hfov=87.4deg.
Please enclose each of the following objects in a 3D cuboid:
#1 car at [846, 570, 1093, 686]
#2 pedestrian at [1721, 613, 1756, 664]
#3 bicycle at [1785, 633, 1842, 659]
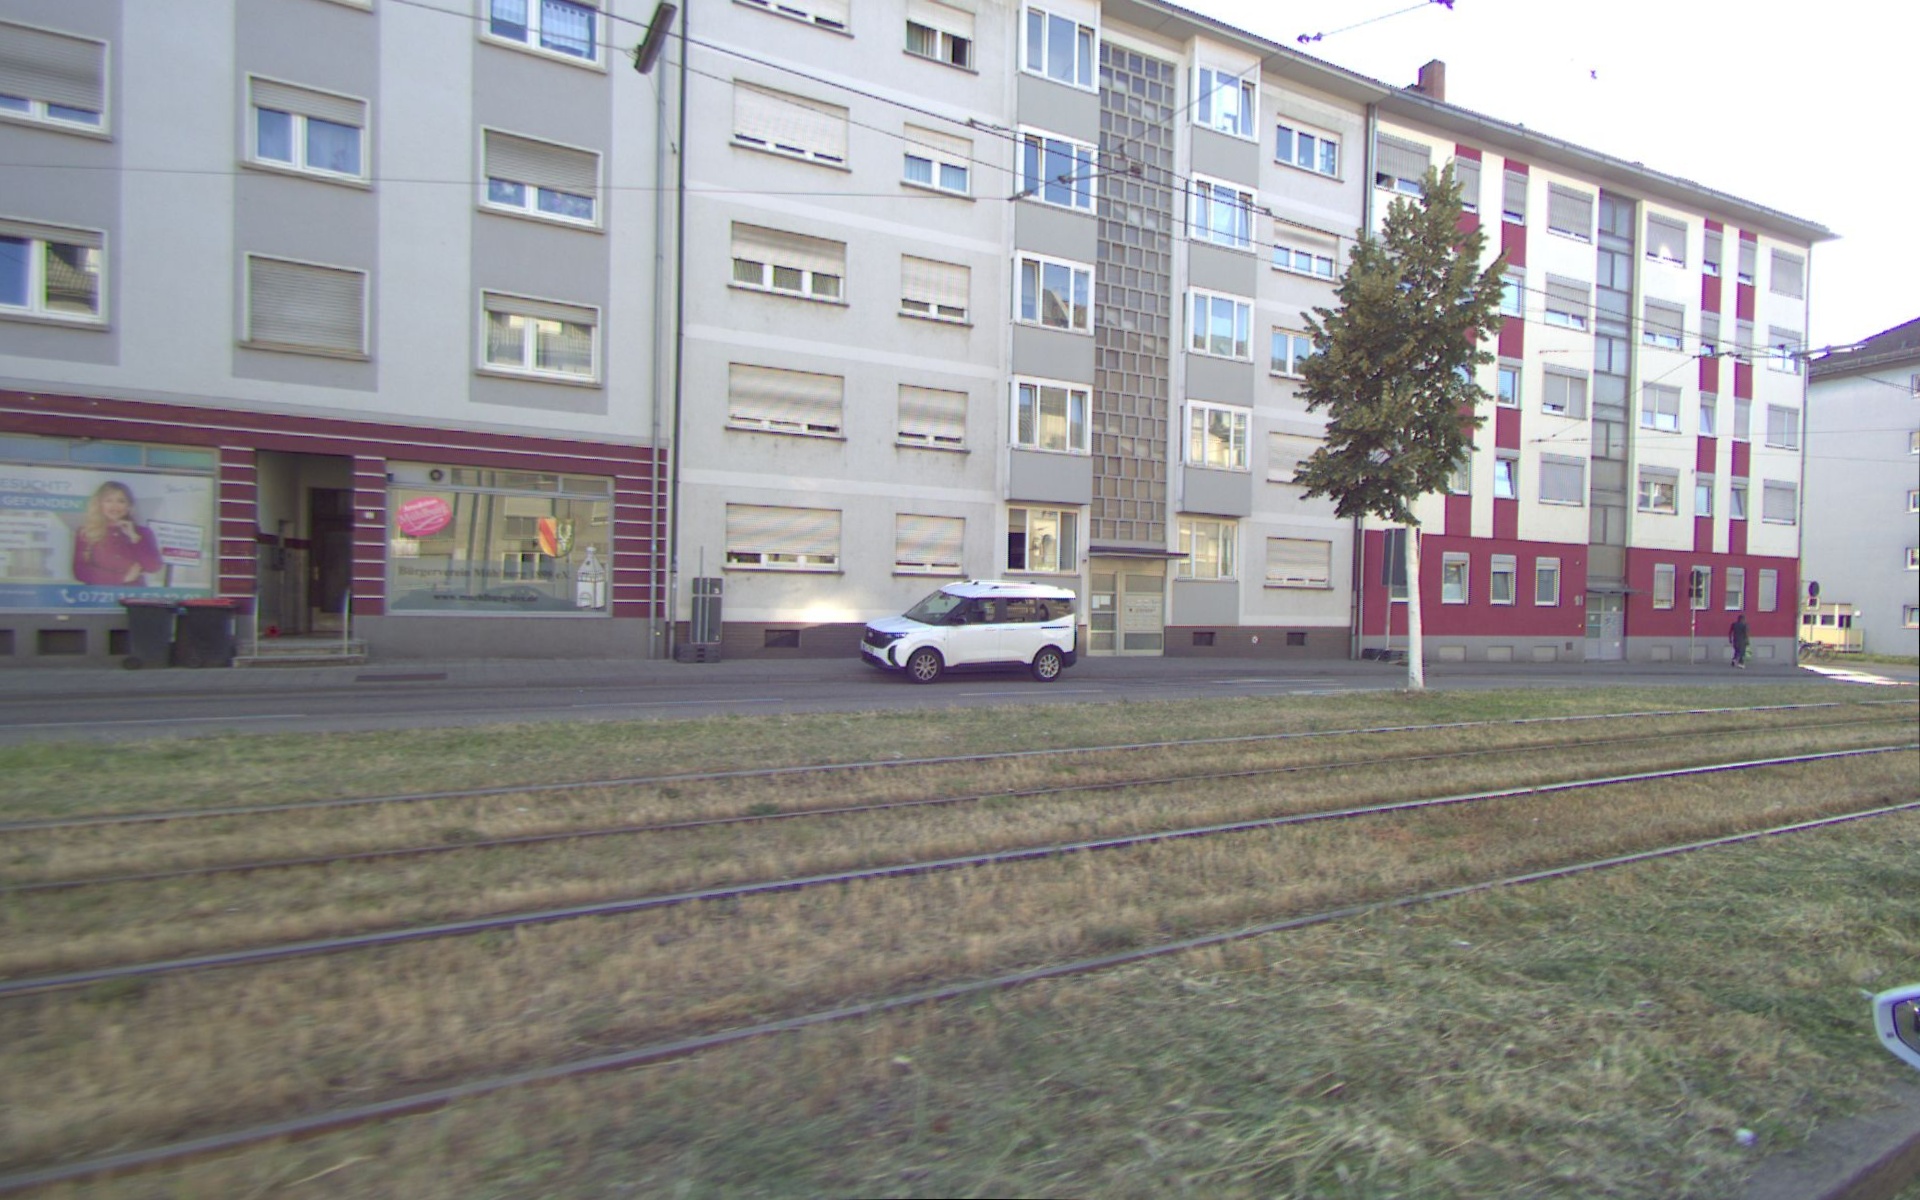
[{"bbox_3d":[0.191,0.528,19.646,4.366,1.854,1.859,2,8,-28],"label":"car"},{"bbox_3d":[27.033,1.331,34.883,0.781,1.712,0.611,1,2,-25],"label":"pedestrian"},{"bbox_3d":[40.484,2.192,47.643,0.598,1.090,1.941,2,1,-36],"label":"bicycle"}]
